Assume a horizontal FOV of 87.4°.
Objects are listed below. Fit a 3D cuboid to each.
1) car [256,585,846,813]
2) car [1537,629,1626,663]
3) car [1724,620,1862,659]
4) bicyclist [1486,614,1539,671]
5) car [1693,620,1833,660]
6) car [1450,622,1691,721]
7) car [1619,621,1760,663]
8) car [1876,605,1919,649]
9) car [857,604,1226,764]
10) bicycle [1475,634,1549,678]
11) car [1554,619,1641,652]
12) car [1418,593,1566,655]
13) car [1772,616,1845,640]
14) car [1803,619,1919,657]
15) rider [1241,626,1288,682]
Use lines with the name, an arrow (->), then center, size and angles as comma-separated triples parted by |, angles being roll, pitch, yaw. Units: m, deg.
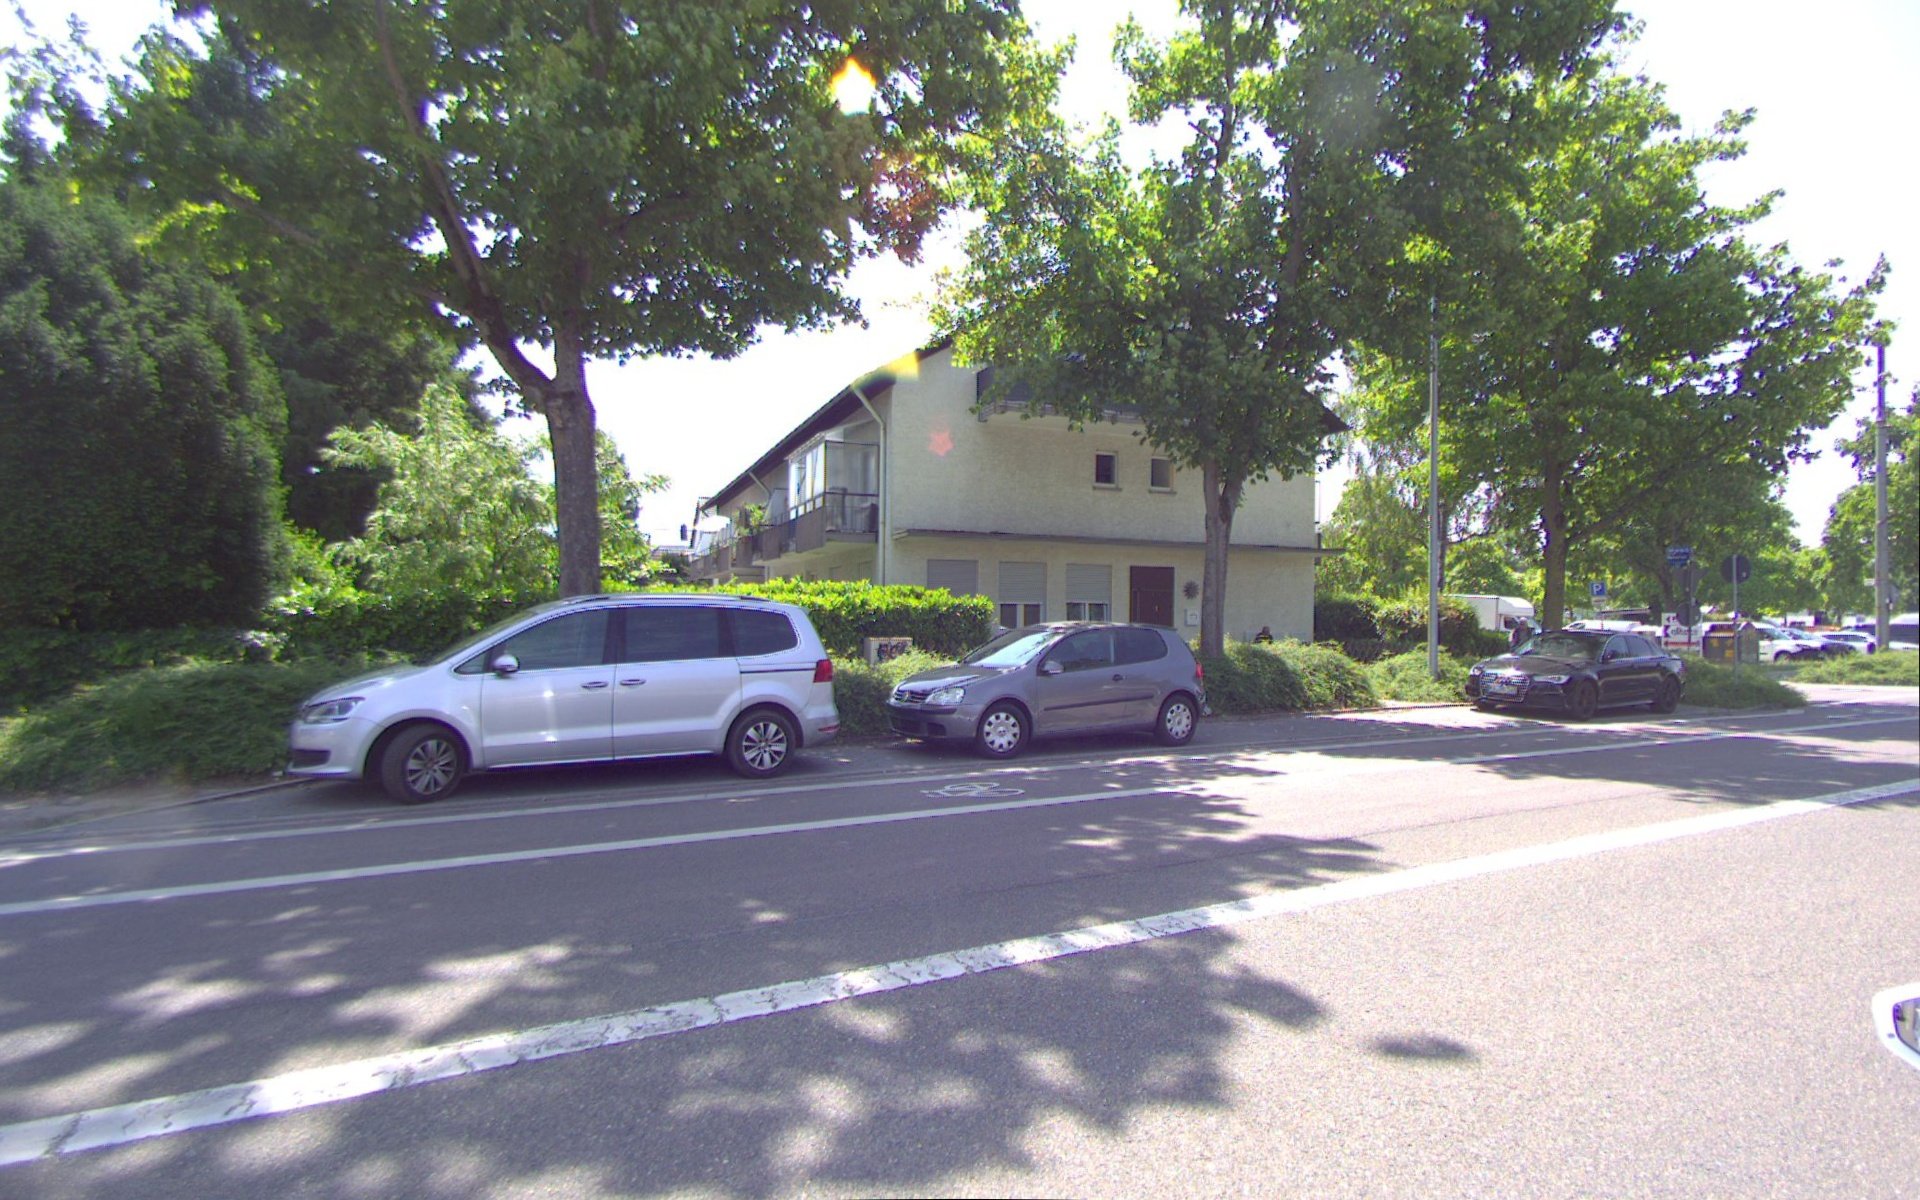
car -> -3.614, 0.752, 9.418 | 4.725, 1.687, 1.863 | 1, 0, -31
car -> 35.880, 2.616, 58.093 | 1.799, 1.675, 3.957 | 2, 1, -37
car -> 36.697, 1.718, 44.389 | 1.886, 1.606, 4.333 | 1, -1, -23
bicyclist -> 13.939, 1.074, 25.363 | 0.817, 1.392, 0.806 | 2, 1, -27
car -> 34.228, 1.675, 42.957 | 1.886, 1.606, 4.332 | 1, -1, -24
car -> 10.906, 1.187, 17.878 | 4.397, 1.496, 1.809 | 1, 1, -31
car -> 29.721, 1.657, 41.064 | 1.891, 1.606, 4.321 | 1, -1, -31
car -> 52.531, 1.520, 53.459 | 2.349, 2.274, 5.076 | 2, 1, -28
car -> 1.028, 0.895, 12.072 | 4.132, 1.585, 1.809 | 1, 1, -31
bicycle -> 13.964, 1.418, 25.406 | 1.805, 1.043, 0.698 | 2, 1, -27
car -> 37.785, 2.087, 59.599 | 1.799, 1.675, 3.957 | 2, 1, -37
car -> 28.844, 1.261, 54.797 | 2.337, 3.005, 6.816 | 2, 1, -30
car -> 66.694, 2.216, 79.024 | 1.795, 1.638, 4.000 | 2, 1, -30
car -> 43.520, 1.791, 48.451 | 1.975, 1.769, 3.968 | 1, -1, -30
rider -> 7.716, 1.350, 25.440 | 0.800, 1.392, 0.824 | 1, -1, -22
